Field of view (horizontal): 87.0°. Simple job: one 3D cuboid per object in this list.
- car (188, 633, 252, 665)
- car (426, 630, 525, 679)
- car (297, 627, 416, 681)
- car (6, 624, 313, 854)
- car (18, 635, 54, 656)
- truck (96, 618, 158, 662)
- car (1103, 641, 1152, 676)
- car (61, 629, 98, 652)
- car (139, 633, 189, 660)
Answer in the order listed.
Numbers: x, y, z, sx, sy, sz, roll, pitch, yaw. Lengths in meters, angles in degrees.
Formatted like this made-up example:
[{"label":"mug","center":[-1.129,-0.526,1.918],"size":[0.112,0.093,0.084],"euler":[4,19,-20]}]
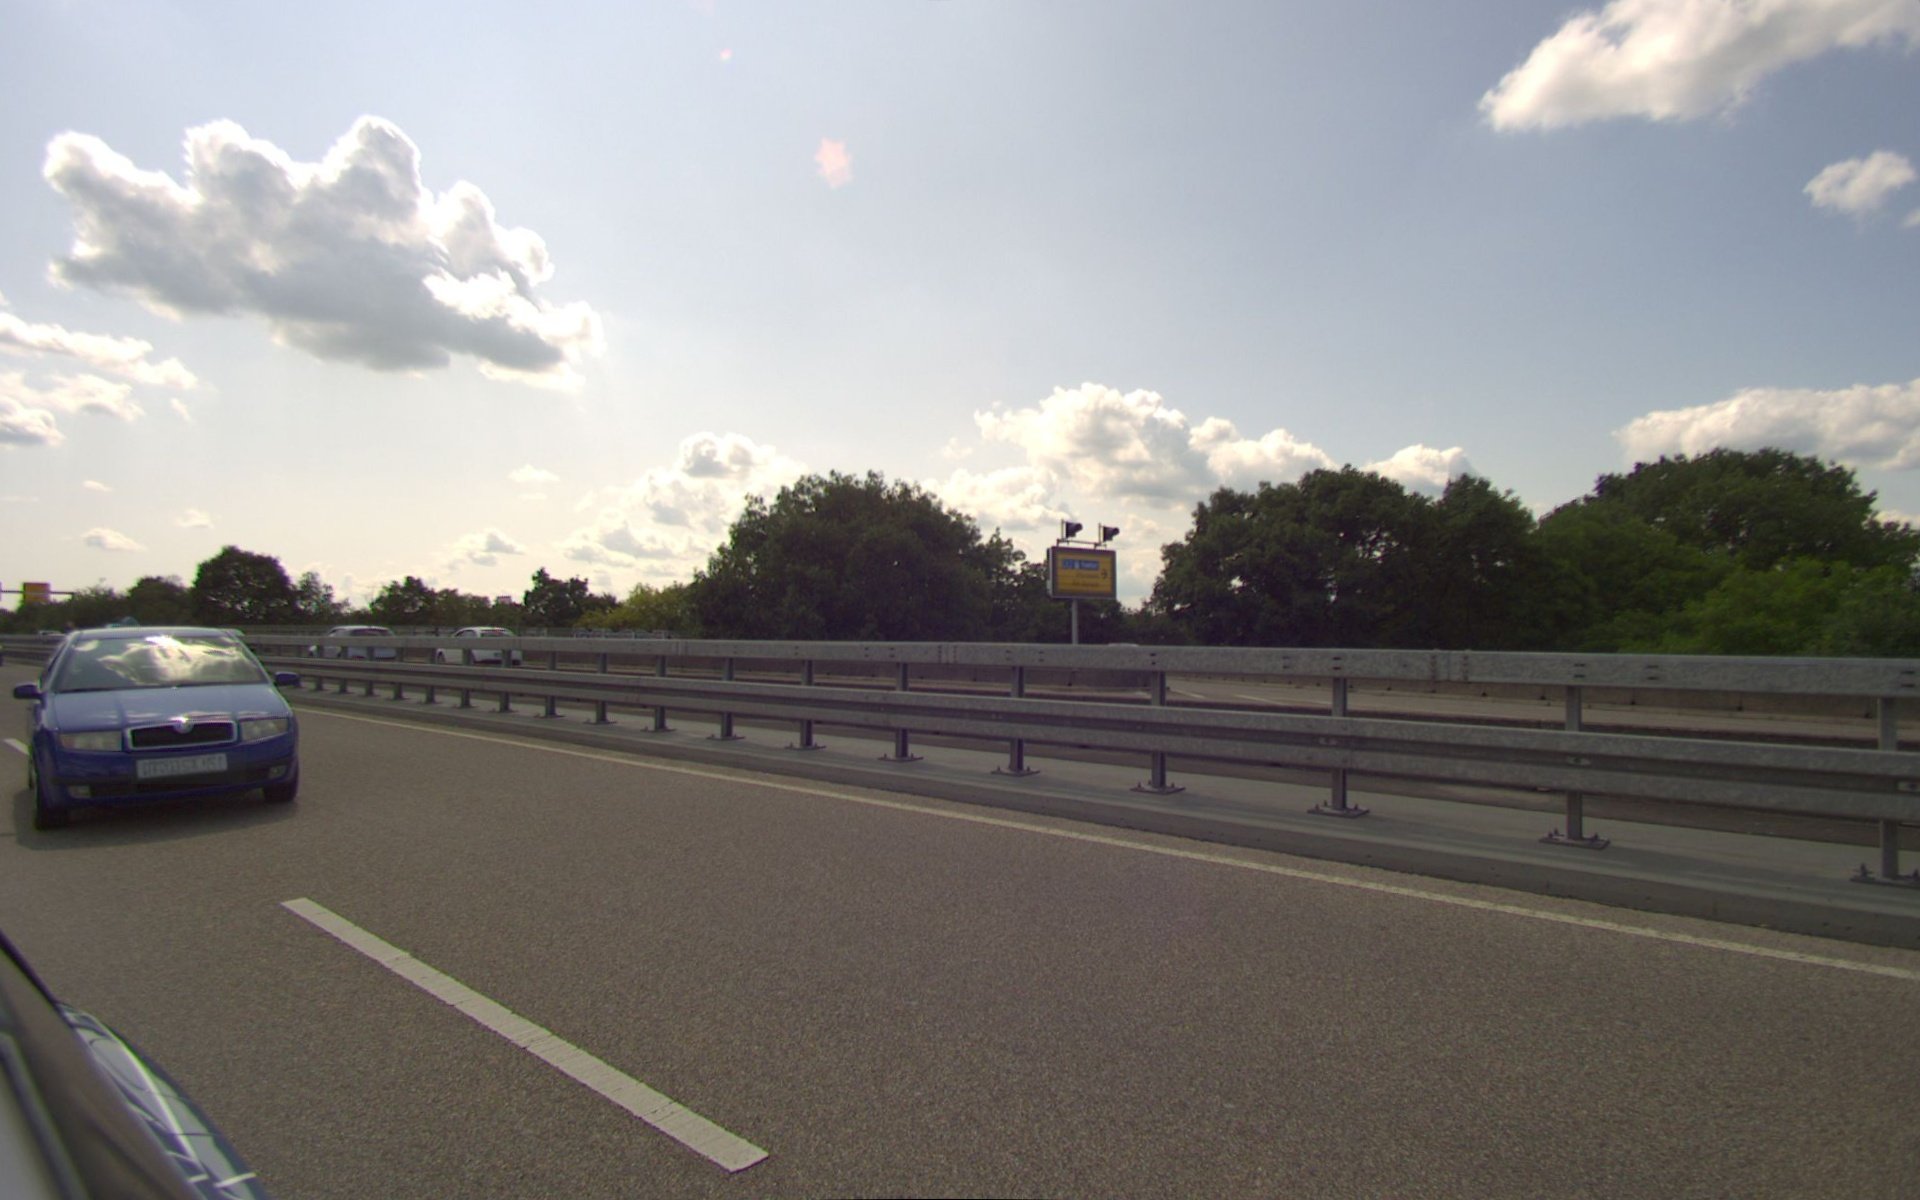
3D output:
[{"label":"car","center":[-42.370,2.781,57.906],"size":[4.507,1.652,1.872],"euler":[-2,-1,39]},{"label":"car","center":[-17.229,1.895,35.927],"size":[3.953,1.593,1.810],"euler":[-2,-1,42]},{"label":"car","center":[-19.067,1.649,31.897],"size":[4.238,1.540,1.883],"euler":[-2,-1,39]},{"label":"car","center":[-6.748,0.944,8.380],"size":[1.602,1.422,3.774],"euler":[-1,-1,-44]},{"label":"car","center":[-95.670,4.726,104.802],"size":[5.185,1.940,1.941],"euler":[-3,-1,38]},{"label":"truck","center":[-44.842,2.133,54.422],"size":[5.187,2.203,1.853],"euler":[-2,-1,42]},{"label":"car","center":[10.562,3.630,63.667],"size":[1.986,1.912,5.131],"euler":[-2,-1,22]},{"label":"car","center":[-72.248,3.311,83.014],"size":[4.405,1.724,1.566],"euler":[-3,-2,39]},{"label":"car","center":[-51.090,2.954,64.919],"size":[3.997,1.651,1.803],"euler":[-2,-1,41]}]
